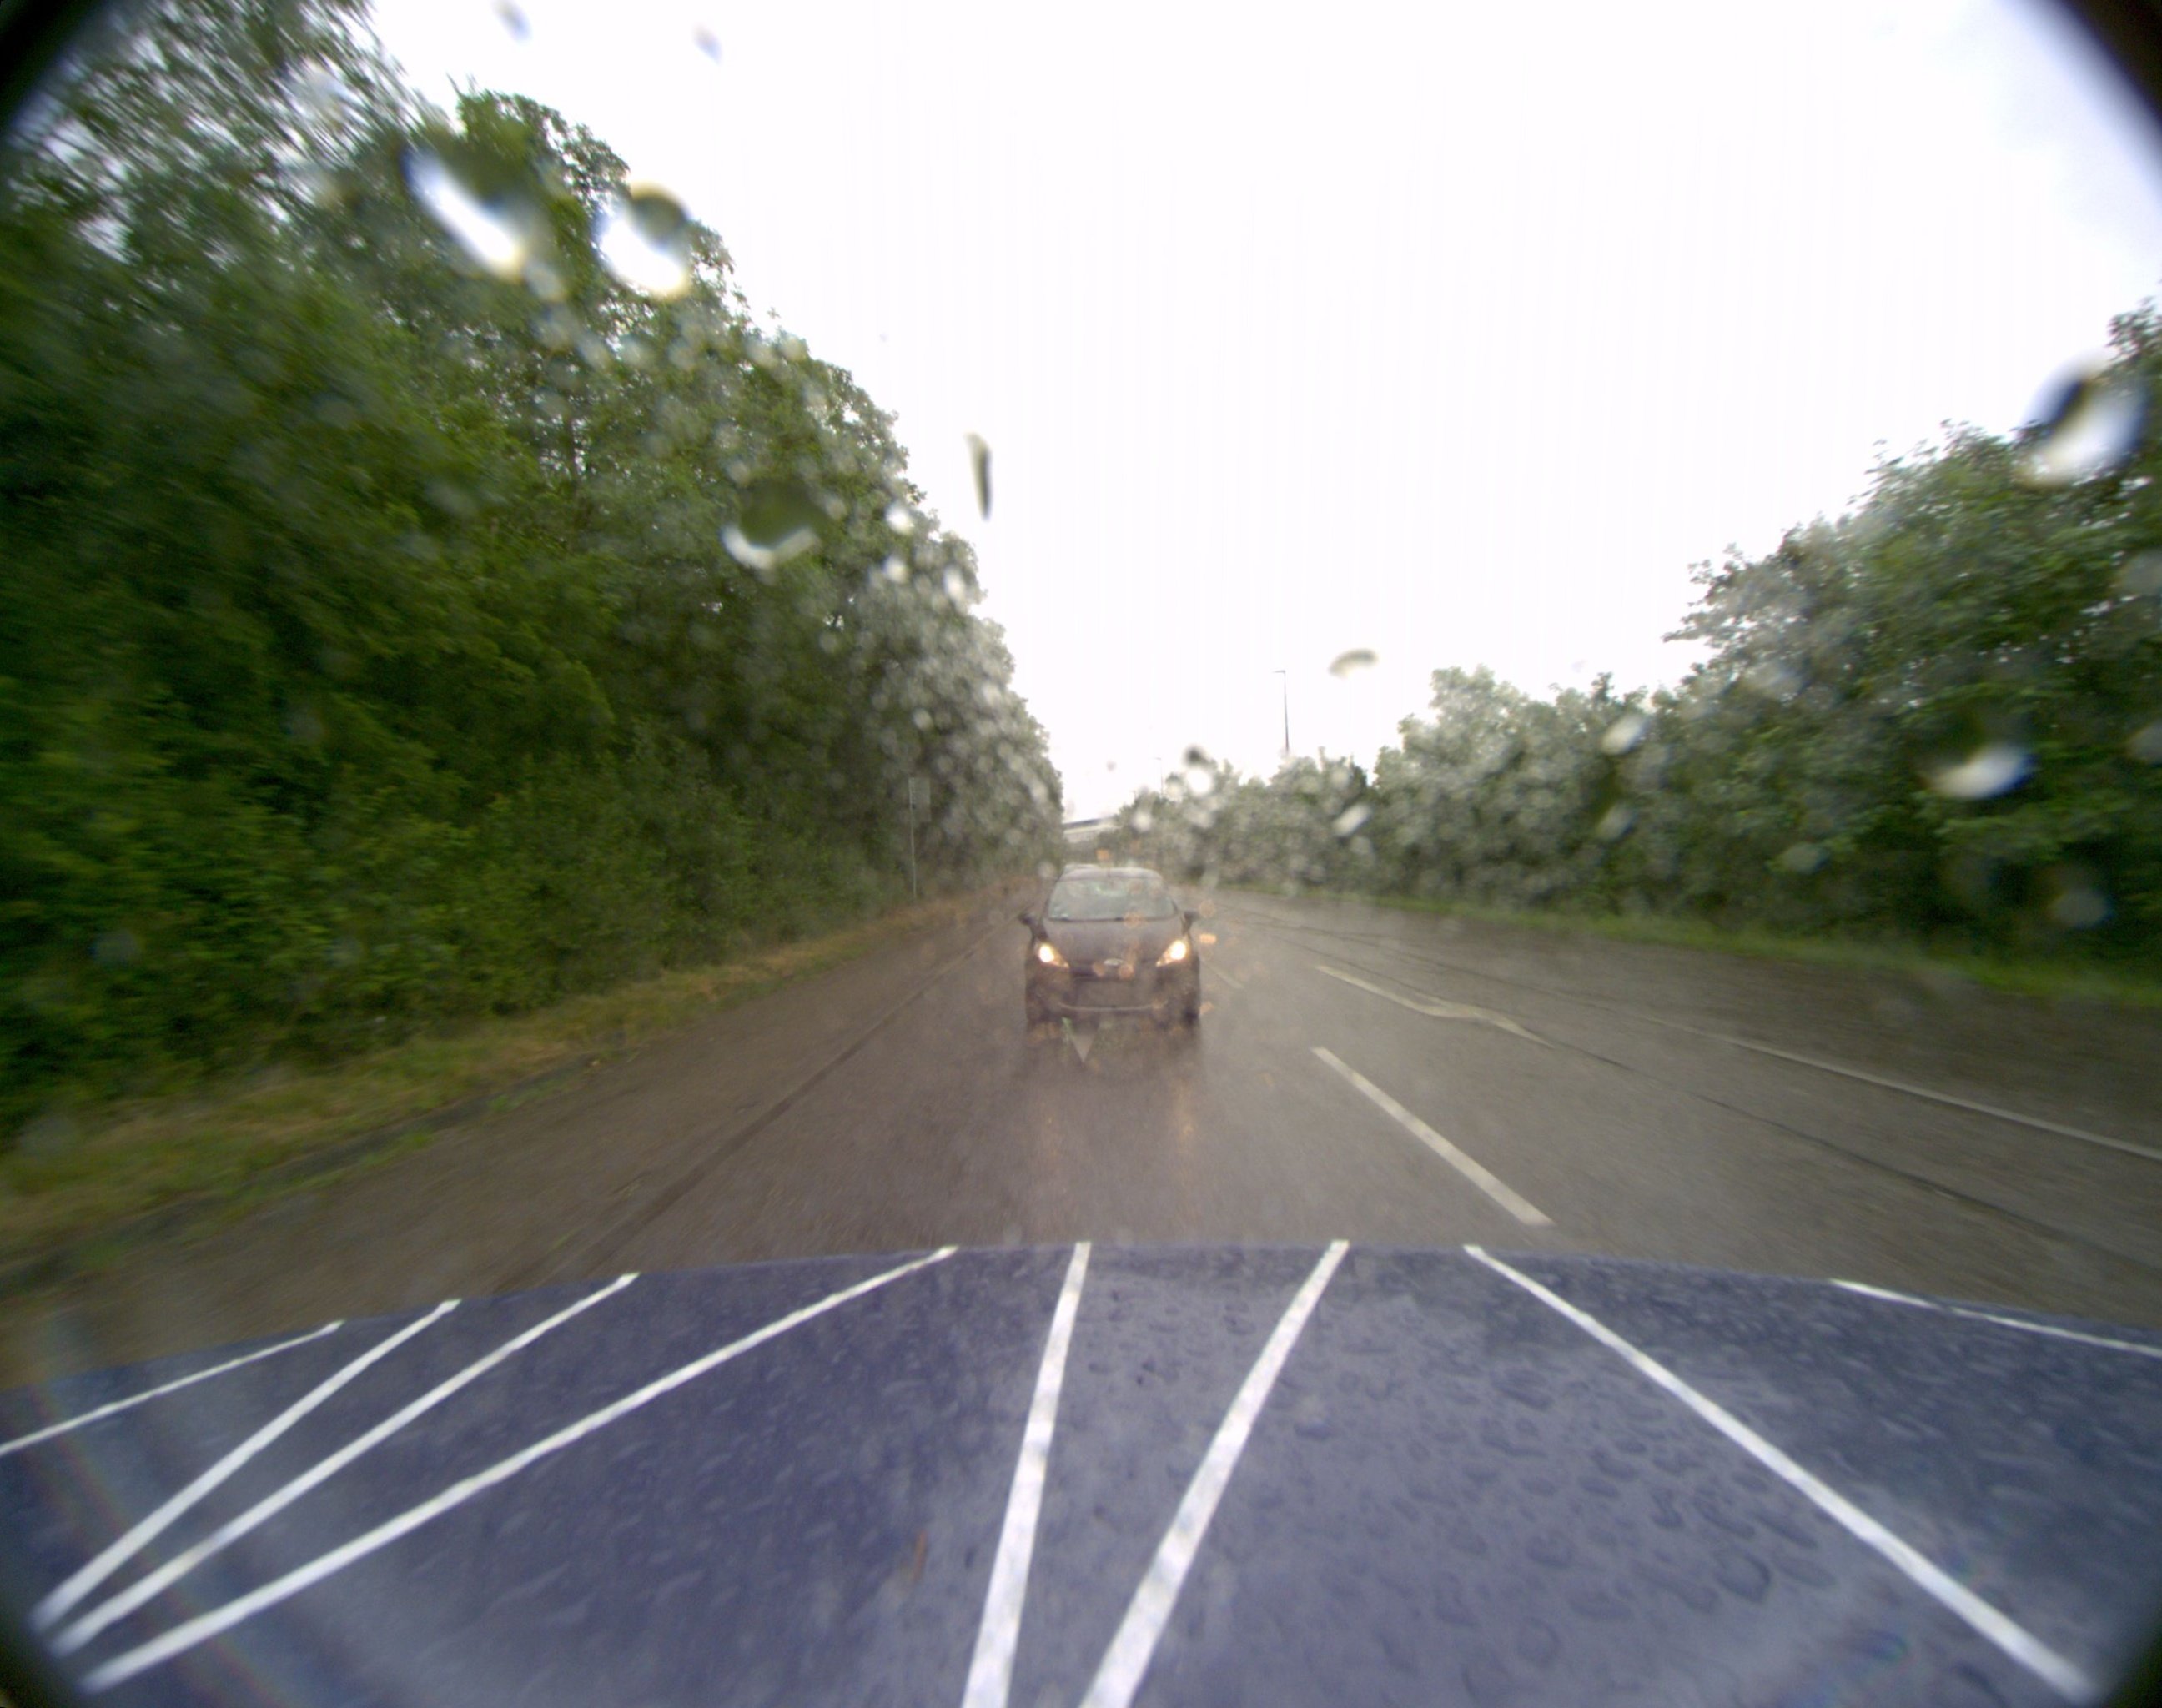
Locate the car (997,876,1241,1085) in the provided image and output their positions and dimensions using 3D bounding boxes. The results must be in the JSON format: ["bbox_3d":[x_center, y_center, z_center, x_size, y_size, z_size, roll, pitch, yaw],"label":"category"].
[{"bbox_3d":[0.304,1.031,7.981,1.839,1.404,4.342,-1,0,0],"label":"car"}]

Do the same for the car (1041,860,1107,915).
[{"bbox_3d":[-0.213,1.048,25.542,1.998,1.576,4.000,-2,0,0],"label":"car"}]
